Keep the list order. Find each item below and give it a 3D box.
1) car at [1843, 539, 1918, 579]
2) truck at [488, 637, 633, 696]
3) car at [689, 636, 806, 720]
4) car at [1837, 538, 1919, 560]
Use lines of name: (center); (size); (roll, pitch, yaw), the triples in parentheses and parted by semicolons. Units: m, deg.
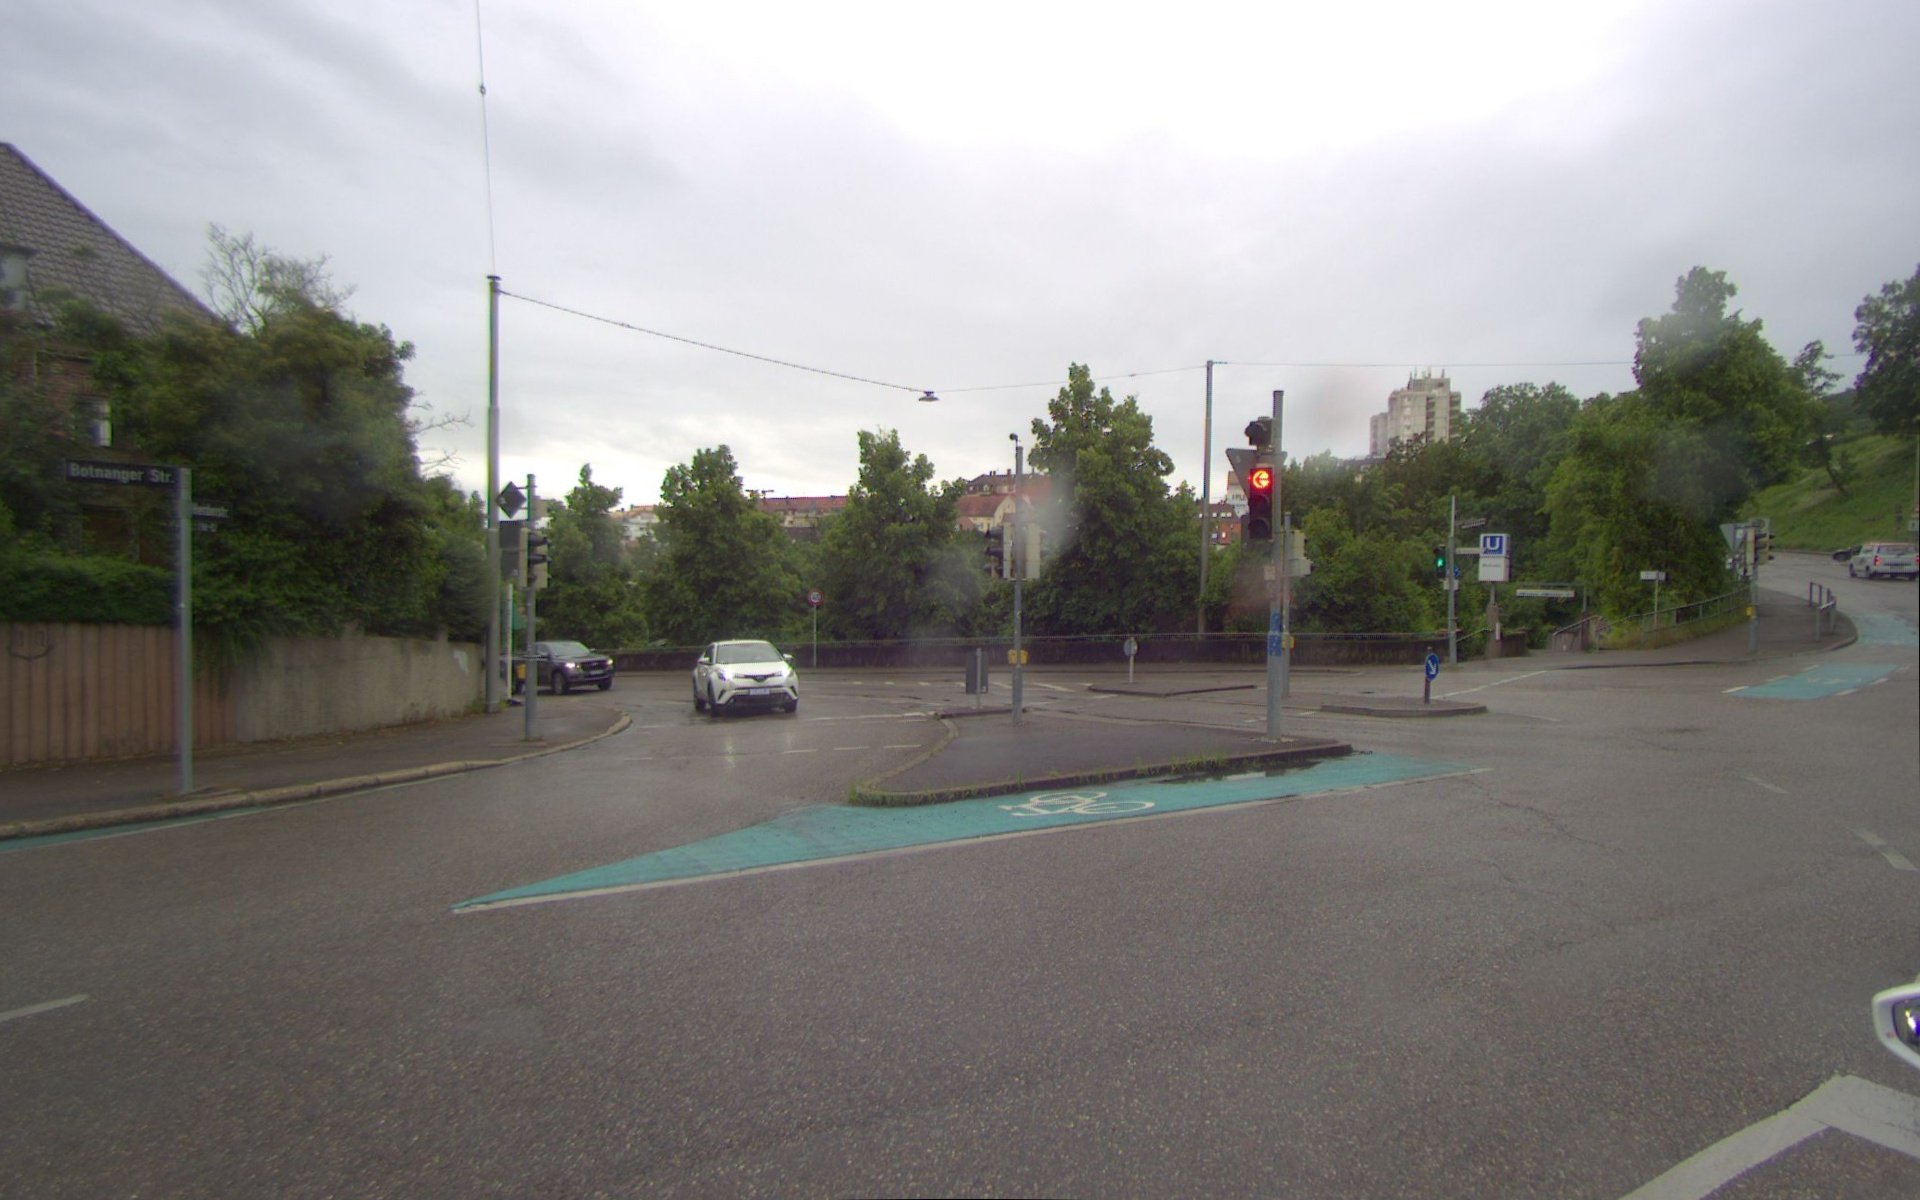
car: (50.448, -2.198, 55.151); (2.036, 2.033, 4.804); (1, 1, 31)
truck: (-14.138, 2.344, 35.521); (4.897, 1.809, 1.907); (-4, -2, 26)
car: (-4.644, 1.631, 21.590); (1.810, 1.527, 3.866); (-2, -2, -21)
car: (67.099, -3.716, 73.260); (1.930, 1.532, 4.389); (-1, 2, -16)
